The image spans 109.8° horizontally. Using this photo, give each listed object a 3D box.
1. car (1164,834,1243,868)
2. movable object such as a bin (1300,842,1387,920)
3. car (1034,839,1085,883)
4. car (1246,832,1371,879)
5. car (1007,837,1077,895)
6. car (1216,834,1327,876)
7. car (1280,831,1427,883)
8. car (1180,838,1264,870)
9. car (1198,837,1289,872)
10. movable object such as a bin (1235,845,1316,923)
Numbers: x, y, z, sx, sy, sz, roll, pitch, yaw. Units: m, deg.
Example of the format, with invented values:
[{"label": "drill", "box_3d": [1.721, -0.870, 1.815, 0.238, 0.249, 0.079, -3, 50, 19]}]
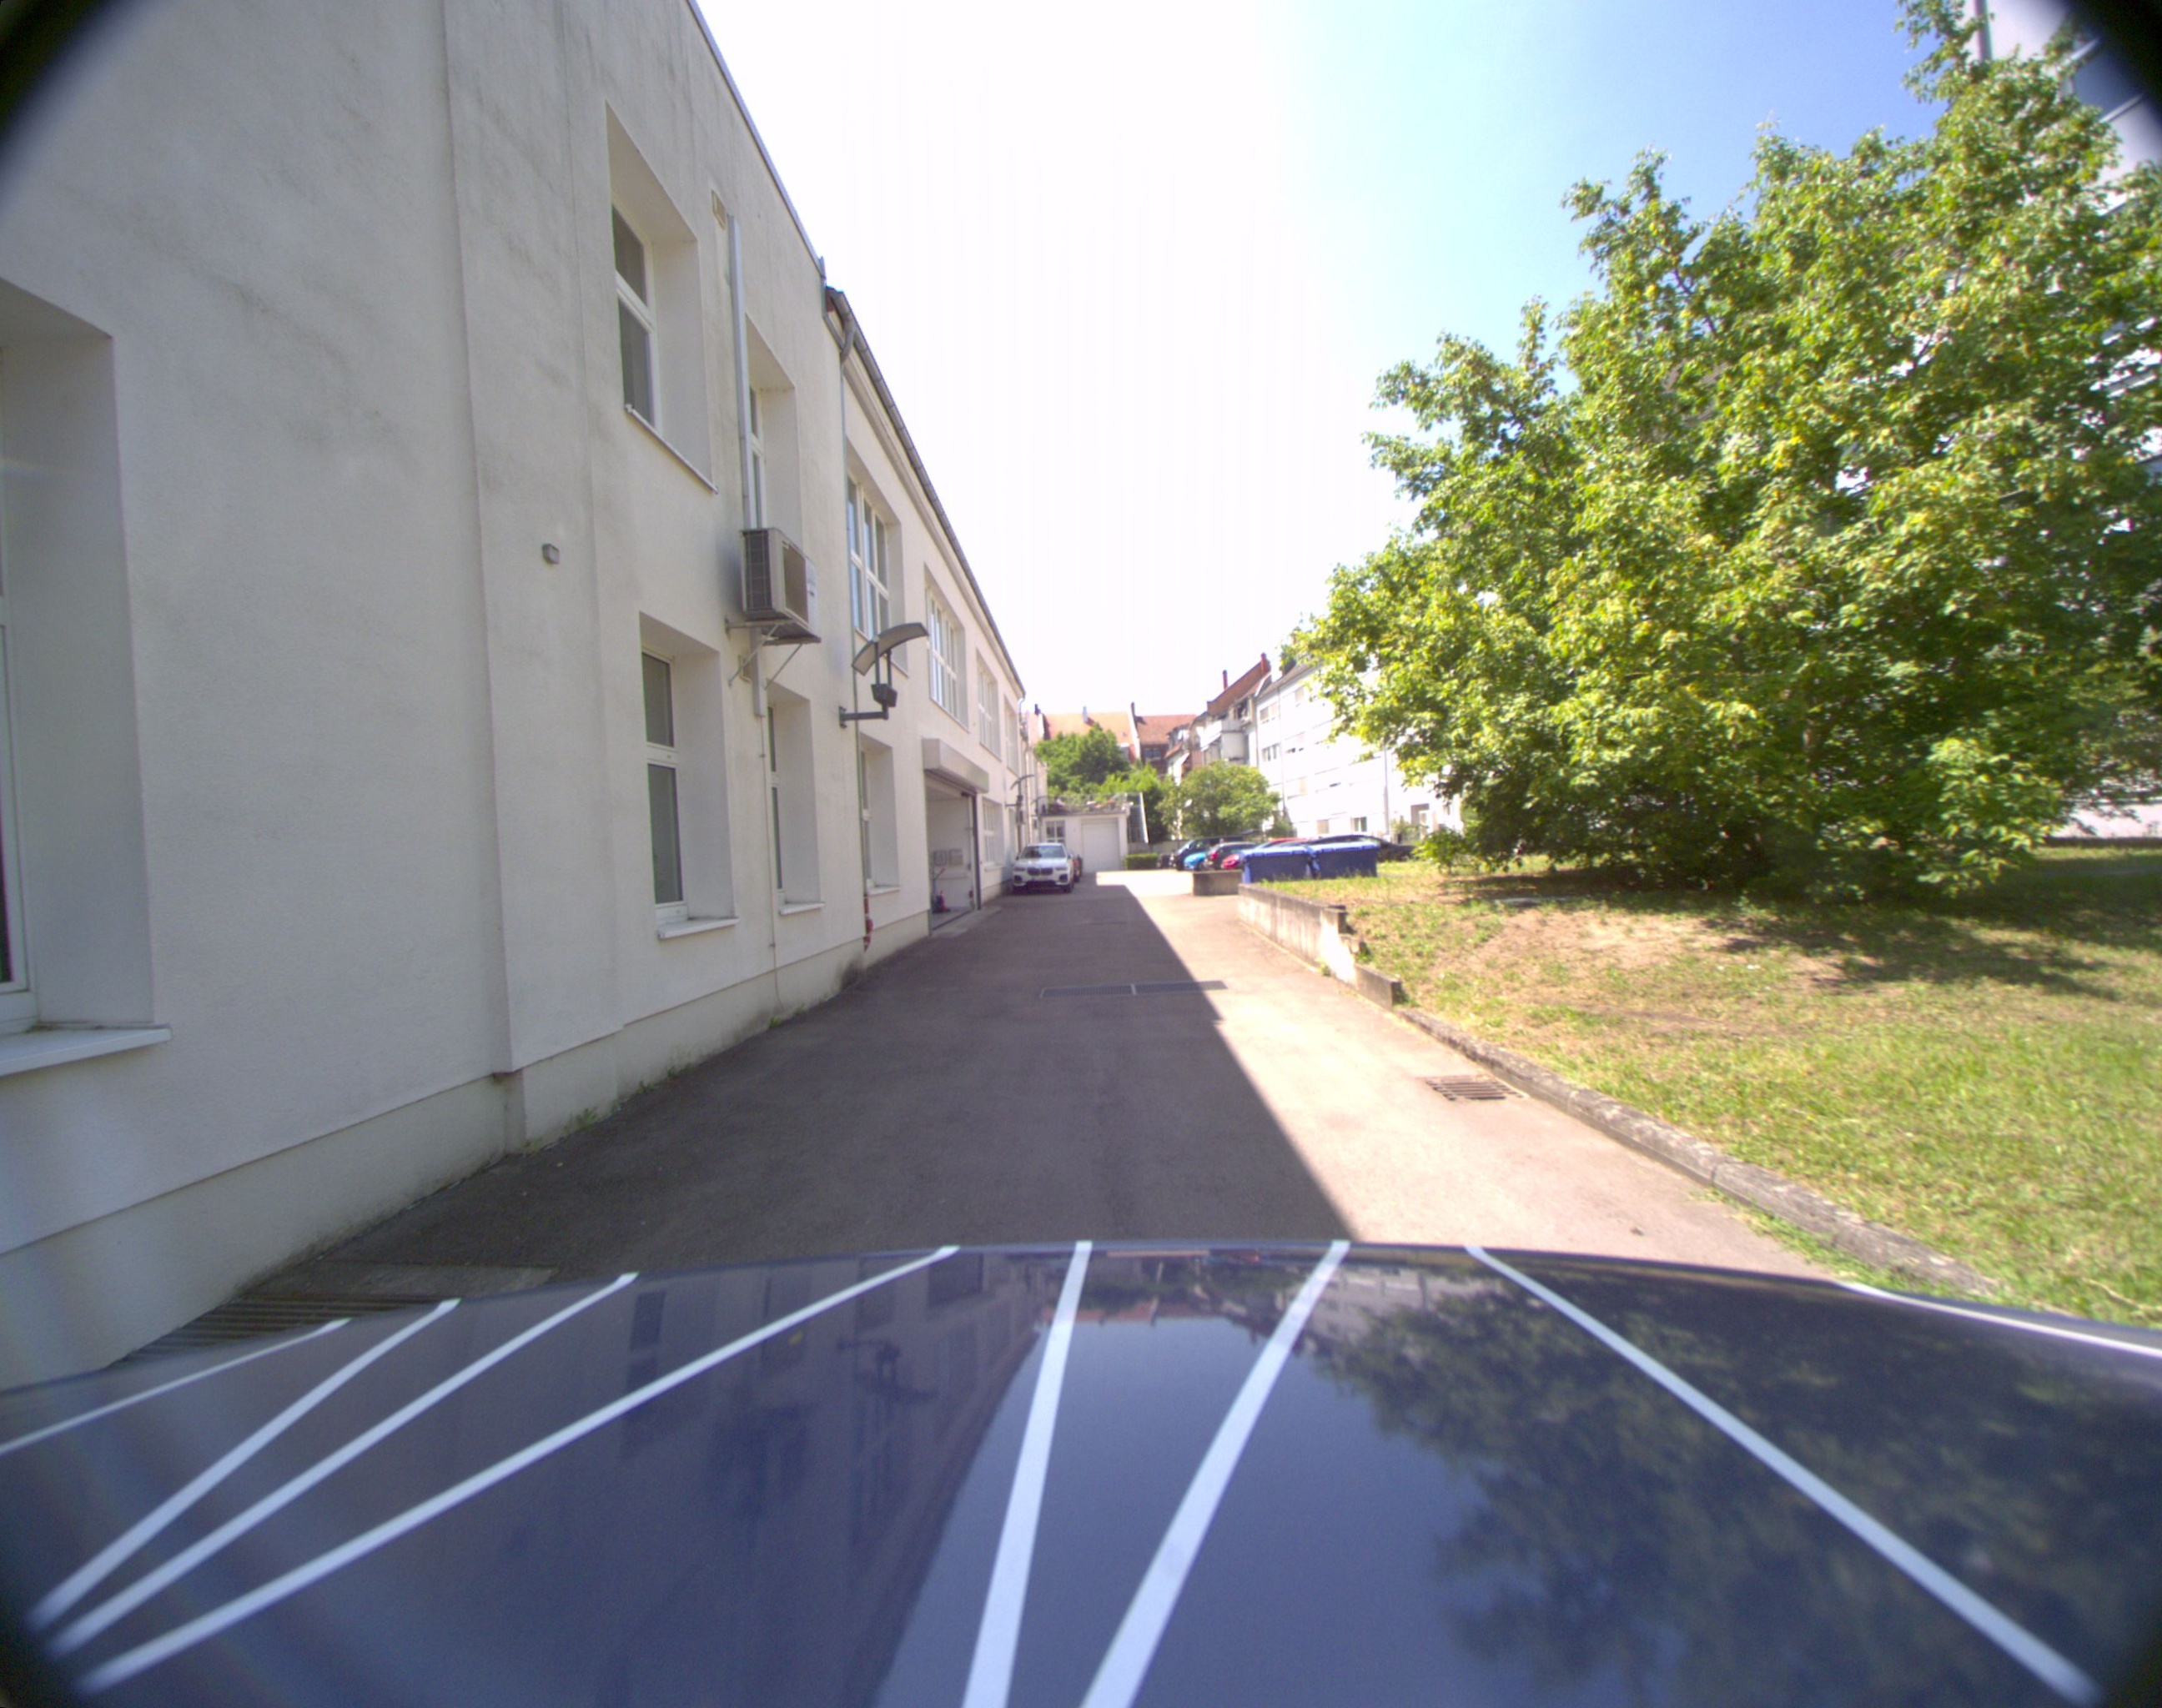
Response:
[{"label": "car", "box_3d": [7.194, -0.200, 44.790, 4.223, 1.813, 2.008, -3, 2, -4]}, {"label": "movable object such as a bin", "box_3d": [4.994, 0.492, 14.537, 1.271, 1.381, 1.095, -2, 2, 2]}, {"label": "car", "box_3d": [-0.923, 0.266, 35.759, 2.011, 1.793, 4.726, -2, 1, 2]}, {"label": "car", "box_3d": [8.590, 0.043, 28.832, 4.223, 1.560, 1.612, -3, 2, -4]}, {"label": "car", "box_3d": [-1.262, 0.341, 26.962, 2.011, 1.793, 4.726, -2, 1, 2]}, {"label": "car", "box_3d": [8.029, 0.021, 32.154, 4.223, 1.560, 1.612, -3, 2, -4]}, {"label": "car", "box_3d": [9.299, 0.078, 26.105, 4.444, 1.560, 1.612, -3, 2, -4]}, {"label": "car", "box_3d": [7.735, -0.026, 41.842, 4.223, 1.560, 1.612, -3, 2, -4]}, {"label": "car", "box_3d": [8.258, 0.006, 38.768, 4.223, 1.560, 1.612, -3, 2, -4]}, {"label": "movable object such as a bin", "box_3d": [3.696, 0.549, 14.552, 1.271, 1.381, 1.095, -2, 2, 2]}]
